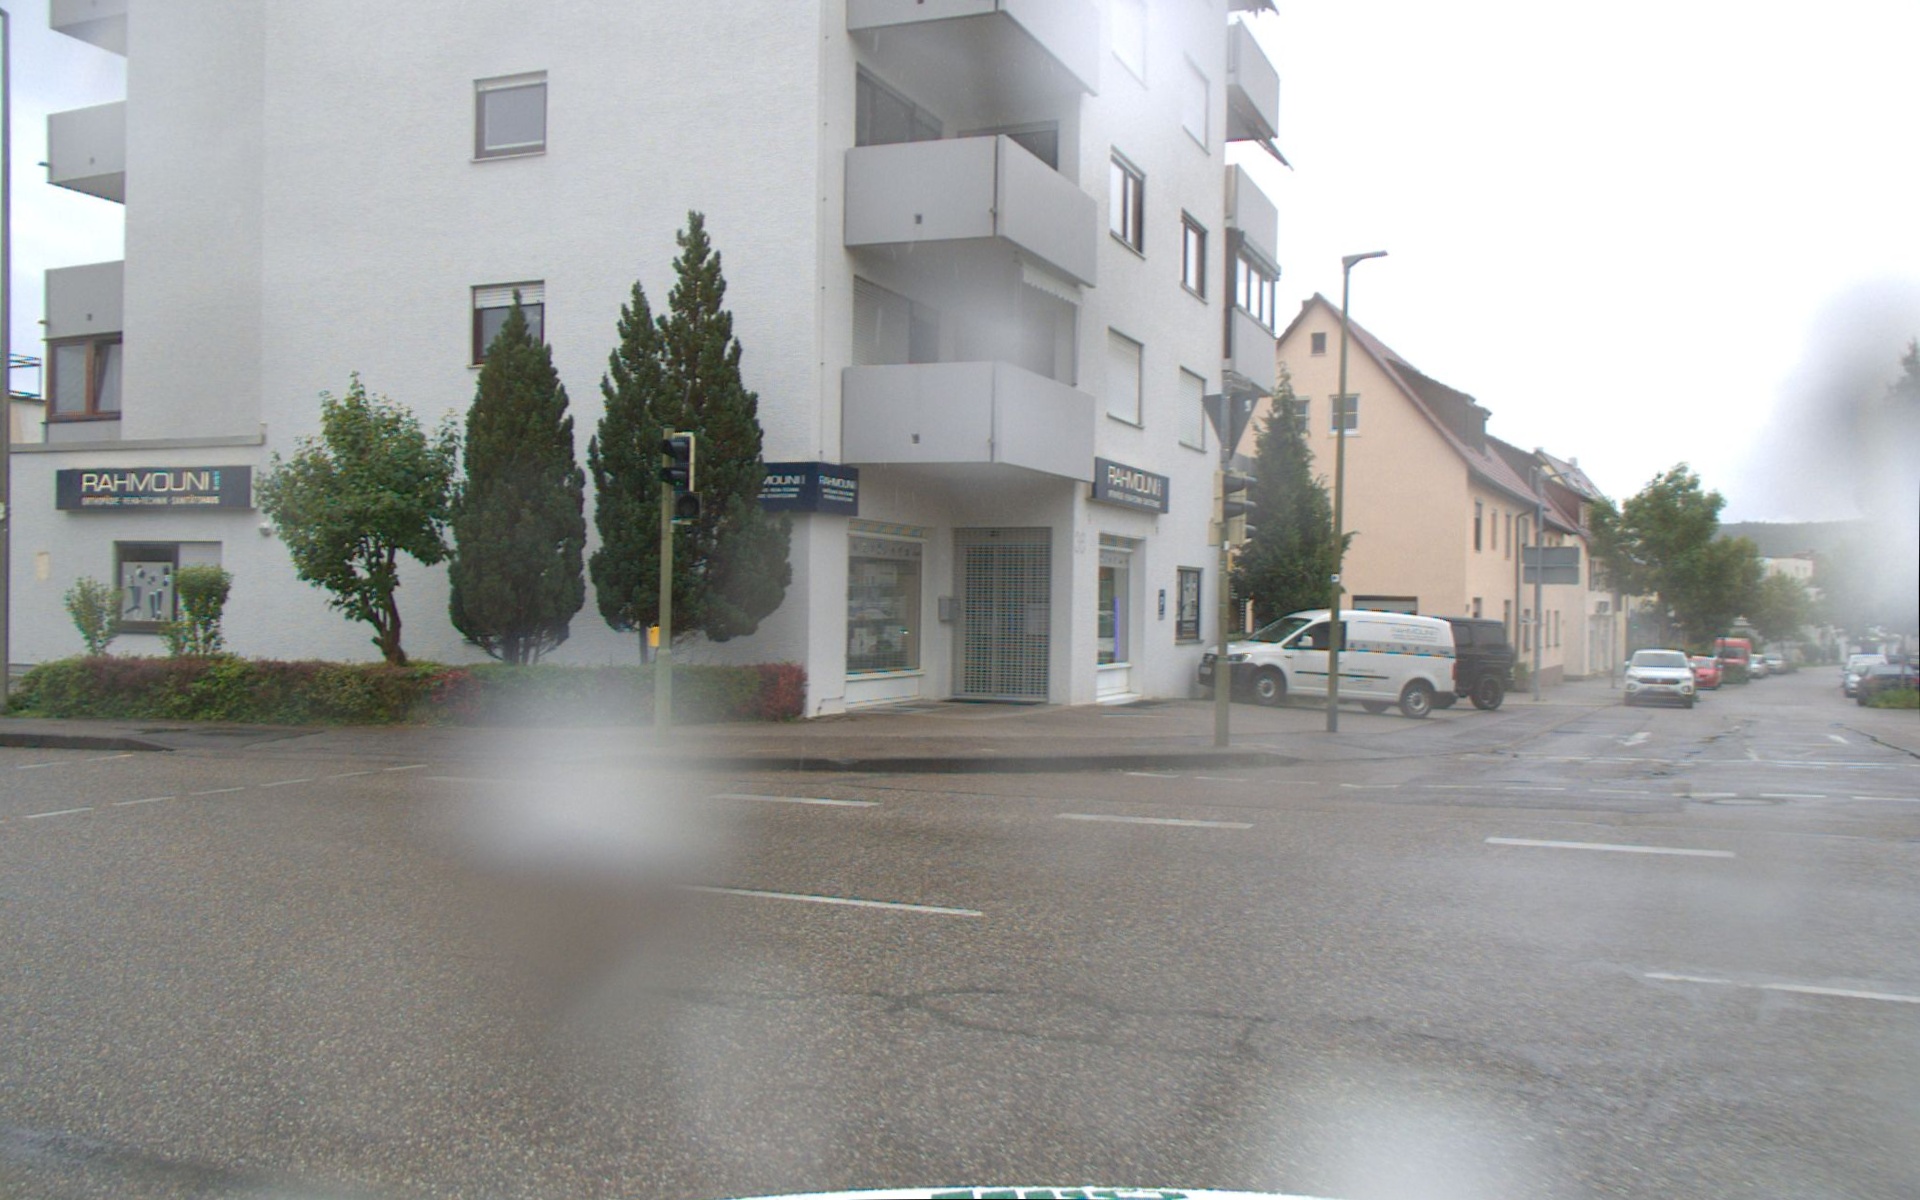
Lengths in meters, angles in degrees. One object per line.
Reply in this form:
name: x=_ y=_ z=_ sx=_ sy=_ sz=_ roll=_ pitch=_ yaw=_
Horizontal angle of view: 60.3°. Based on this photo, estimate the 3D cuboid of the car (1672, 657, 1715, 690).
car: x=35.116 y=3.519 z=79.280 sx=1.731 sy=1.545 sz=3.999 roll=-1 pitch=-3 yaw=22

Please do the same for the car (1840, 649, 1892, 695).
car: x=41.283 y=3.286 z=75.308 sx=1.956 sy=2.049 sz=3.991 roll=-1 pitch=-3 yaw=30

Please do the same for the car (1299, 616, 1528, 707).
car: x=10.003 y=1.381 z=36.566 sx=4.528 sy=1.922 sz=1.956 roll=1 pitch=-3 yaw=-14

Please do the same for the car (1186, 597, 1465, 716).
car: x=6.659 y=1.054 z=30.202 sx=4.634 sy=1.810 sz=1.766 roll=4 pitch=-3 yaw=-14

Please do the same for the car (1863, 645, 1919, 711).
car: x=31.539 y=2.656 z=55.619 sx=1.956 sy=2.049 sz=3.991 roll=-1 pitch=-5 yaw=30

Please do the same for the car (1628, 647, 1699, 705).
car: x=19.708 y=2.118 z=46.359 sx=1.731 sy=1.550 sz=3.998 roll=-1 pitch=-3 yaw=23

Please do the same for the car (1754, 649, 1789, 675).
car: x=59.932 y=4.584 z=122.130 sx=1.957 sy=1.736 sz=3.989 roll=-1 pitch=-5 yaw=32

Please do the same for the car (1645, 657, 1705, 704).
car: x=24.606 y=2.745 z=56.892 sx=1.732 sy=1.545 sz=4.190 roll=-1 pitch=-3 yaw=25

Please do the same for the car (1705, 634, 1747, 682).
car: x=46.097 y=3.520 z=99.619 sx=2.172 sy=2.818 sz=5.720 roll=-1 pitch=-3 yaw=25

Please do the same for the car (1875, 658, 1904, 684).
car: x=75.043 y=5.717 z=133.553 sx=1.956 sy=2.049 sz=3.991 roll=-1 pitch=-3 yaw=30

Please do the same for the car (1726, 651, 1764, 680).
car: x=51.613 y=4.298 z=108.740 sx=1.956 sy=1.714 sz=3.991 roll=-1 pitch=-5 yaw=30
